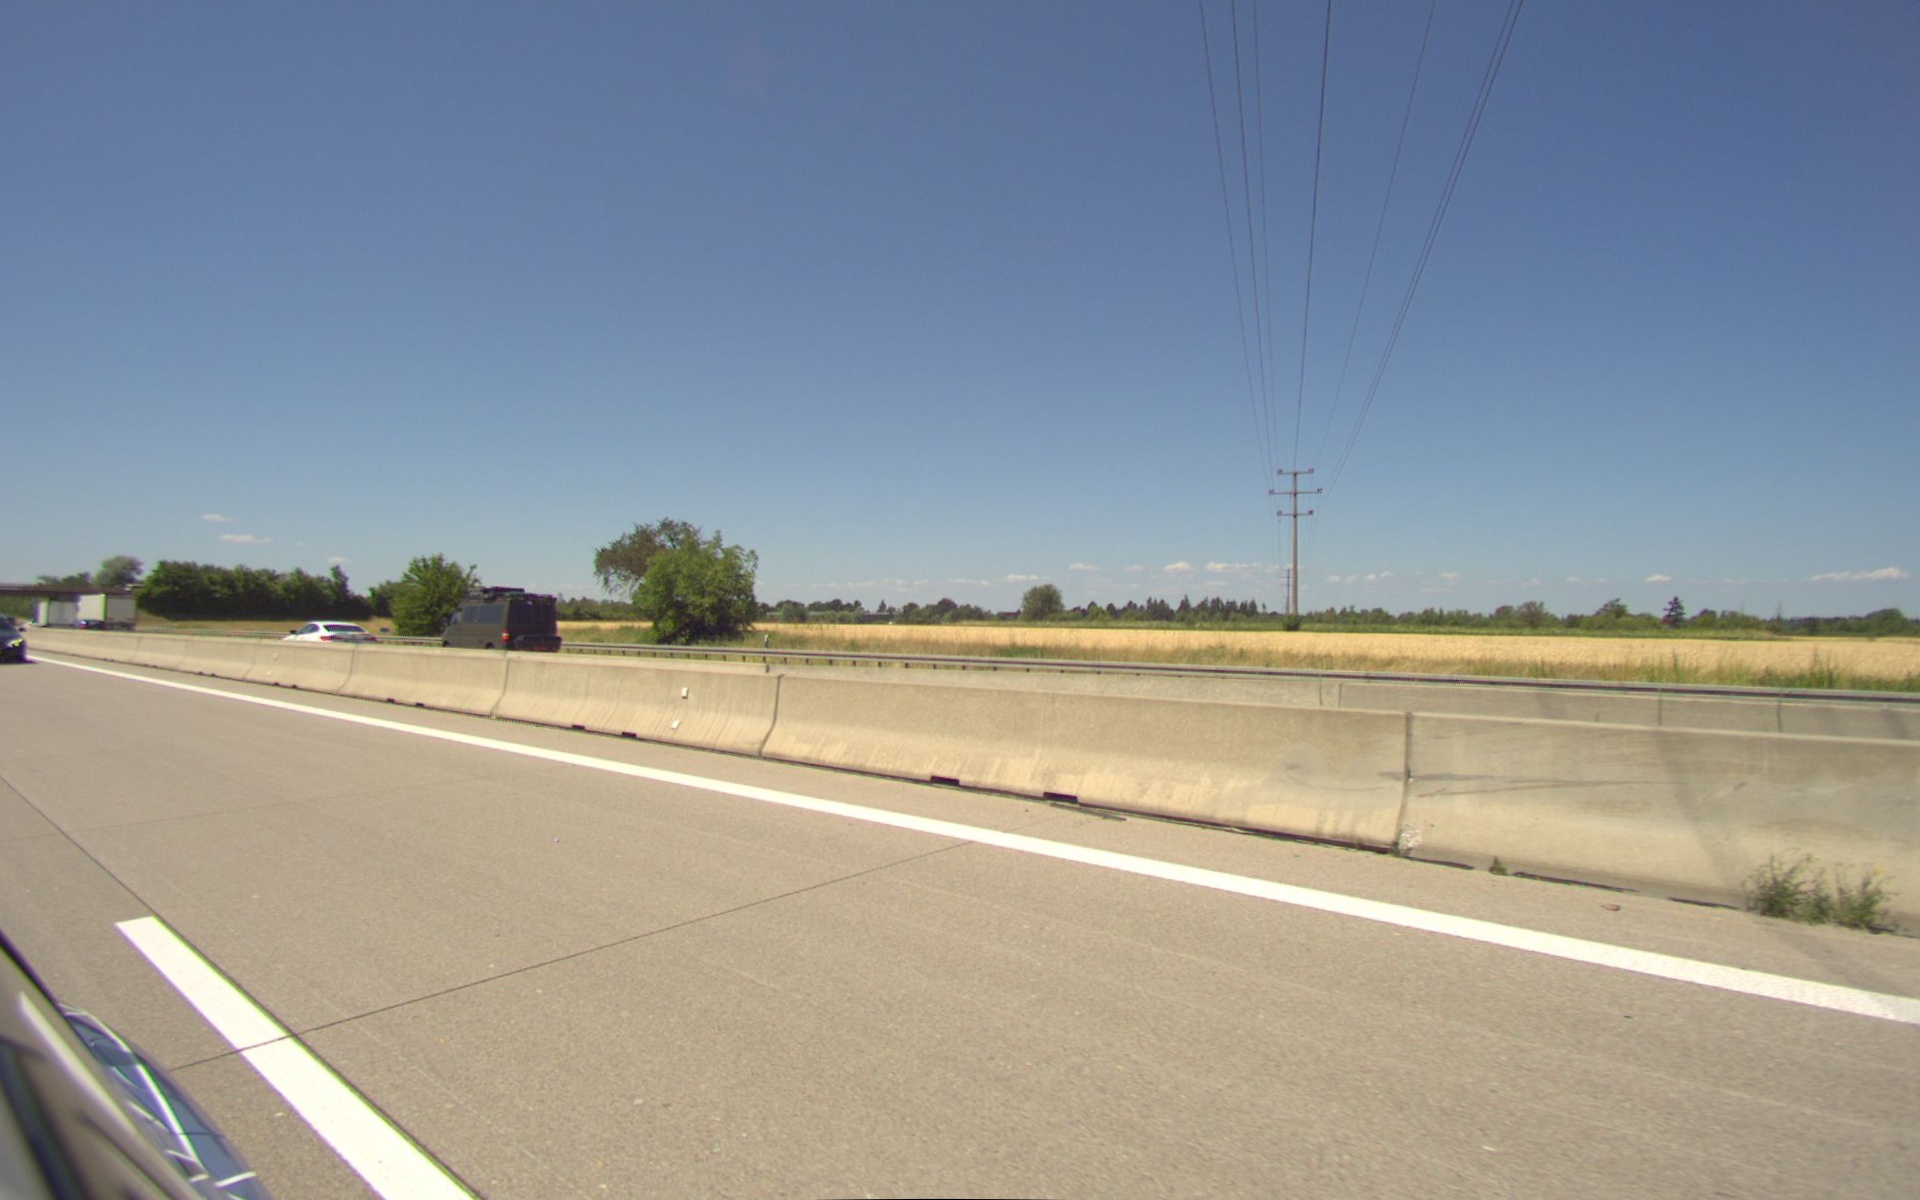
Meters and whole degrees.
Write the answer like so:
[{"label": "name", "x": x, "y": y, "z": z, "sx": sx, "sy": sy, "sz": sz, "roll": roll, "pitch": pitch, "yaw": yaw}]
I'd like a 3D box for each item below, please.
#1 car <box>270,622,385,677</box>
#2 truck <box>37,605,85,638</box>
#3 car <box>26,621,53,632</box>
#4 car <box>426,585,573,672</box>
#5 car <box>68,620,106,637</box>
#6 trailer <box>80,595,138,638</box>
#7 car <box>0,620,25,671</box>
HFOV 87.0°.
[{"label": "car", "x": -21.381, "y": 1.604, "z": 34.111, "sx": 5.105, "sy": 1.665, "sz": 1.853, "roll": -1, "pitch": 0, "yaw": 41}, {"label": "truck", "x": -88.738, "y": 2.131, "z": 99.821, "sx": 7.918, "sy": 3.166, "sz": 2.521, "roll": -1, "pitch": -1, "yaw": 41}, {"label": "car", "x": -99.883, "y": 2.845, "z": 109.803, "sx": 4.396, "sy": 1.155, "sz": 1.662, "roll": -1, "pitch": -2, "yaw": 41}, {"label": "car", "x": -16.445, "y": 0.963, "z": 35.885, "sx": 6.790, "sy": 2.807, "sz": 2.224, "roll": -1, "pitch": 0, "yaw": 42}, {"label": "car", "x": -57.090, "y": 1.849, "z": 66.173, "sx": 3.523, "sy": 1.061, "sz": 1.505, "roll": -2, "pitch": -1, "yaw": 43}, {"label": "trailer", "x": -86.194, "y": 1.656, "z": 102.402, "sx": 12.674, "sy": 4.075, "sz": 2.790, "roll": -1, "pitch": 0, "yaw": 42}, {"label": "car", "x": -30.687, "y": 1.345, "z": 31.170, "sx": 6.343, "sy": 1.482, "sz": 1.973, "roll": -1, "pitch": -3, "yaw": 40}]
